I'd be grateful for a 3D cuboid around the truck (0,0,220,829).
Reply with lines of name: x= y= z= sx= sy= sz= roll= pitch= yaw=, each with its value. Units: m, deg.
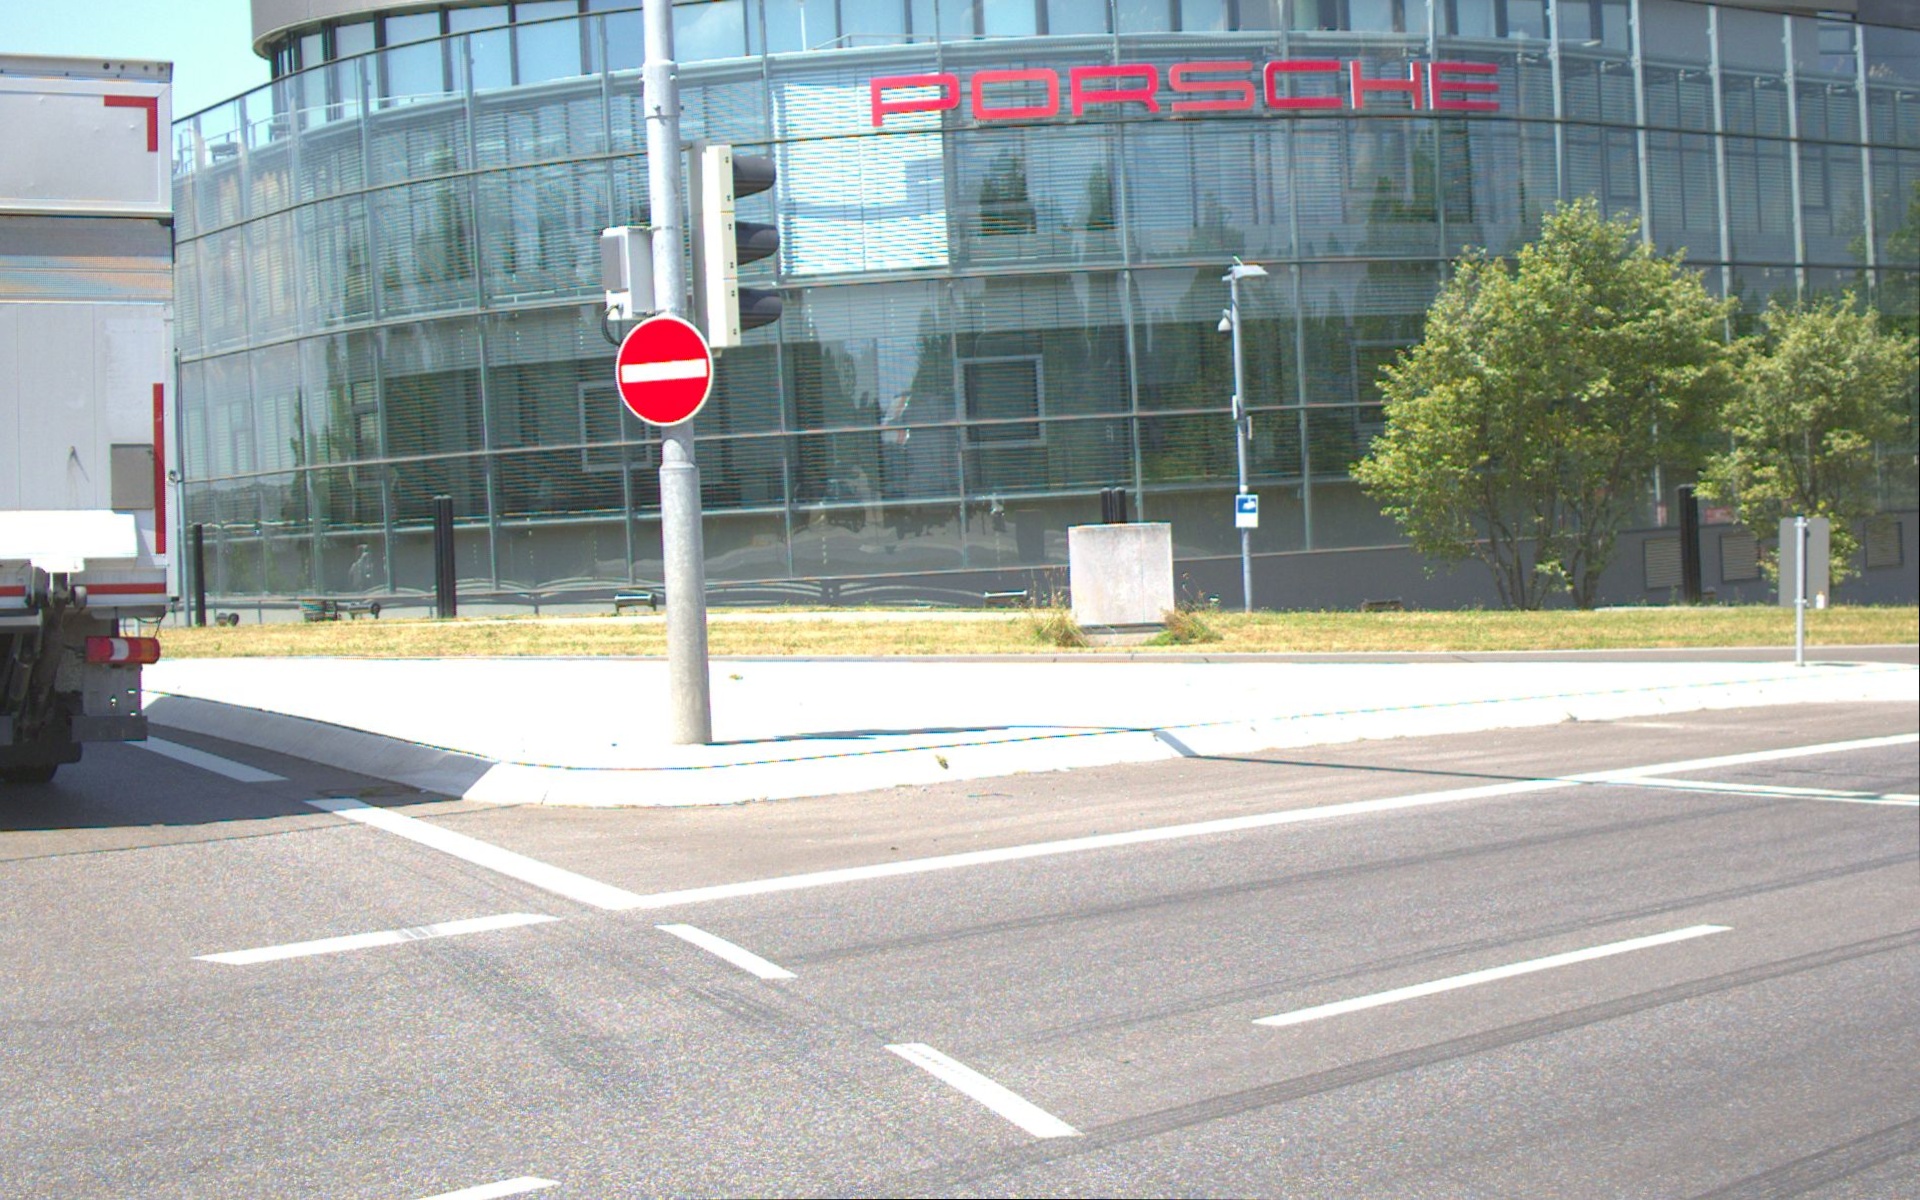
truck: x=-6.726 y=-0.951 z=19.786 sx=2.769 sy=3.846 sz=9.372 roll=-1 pitch=2 yaw=-25
